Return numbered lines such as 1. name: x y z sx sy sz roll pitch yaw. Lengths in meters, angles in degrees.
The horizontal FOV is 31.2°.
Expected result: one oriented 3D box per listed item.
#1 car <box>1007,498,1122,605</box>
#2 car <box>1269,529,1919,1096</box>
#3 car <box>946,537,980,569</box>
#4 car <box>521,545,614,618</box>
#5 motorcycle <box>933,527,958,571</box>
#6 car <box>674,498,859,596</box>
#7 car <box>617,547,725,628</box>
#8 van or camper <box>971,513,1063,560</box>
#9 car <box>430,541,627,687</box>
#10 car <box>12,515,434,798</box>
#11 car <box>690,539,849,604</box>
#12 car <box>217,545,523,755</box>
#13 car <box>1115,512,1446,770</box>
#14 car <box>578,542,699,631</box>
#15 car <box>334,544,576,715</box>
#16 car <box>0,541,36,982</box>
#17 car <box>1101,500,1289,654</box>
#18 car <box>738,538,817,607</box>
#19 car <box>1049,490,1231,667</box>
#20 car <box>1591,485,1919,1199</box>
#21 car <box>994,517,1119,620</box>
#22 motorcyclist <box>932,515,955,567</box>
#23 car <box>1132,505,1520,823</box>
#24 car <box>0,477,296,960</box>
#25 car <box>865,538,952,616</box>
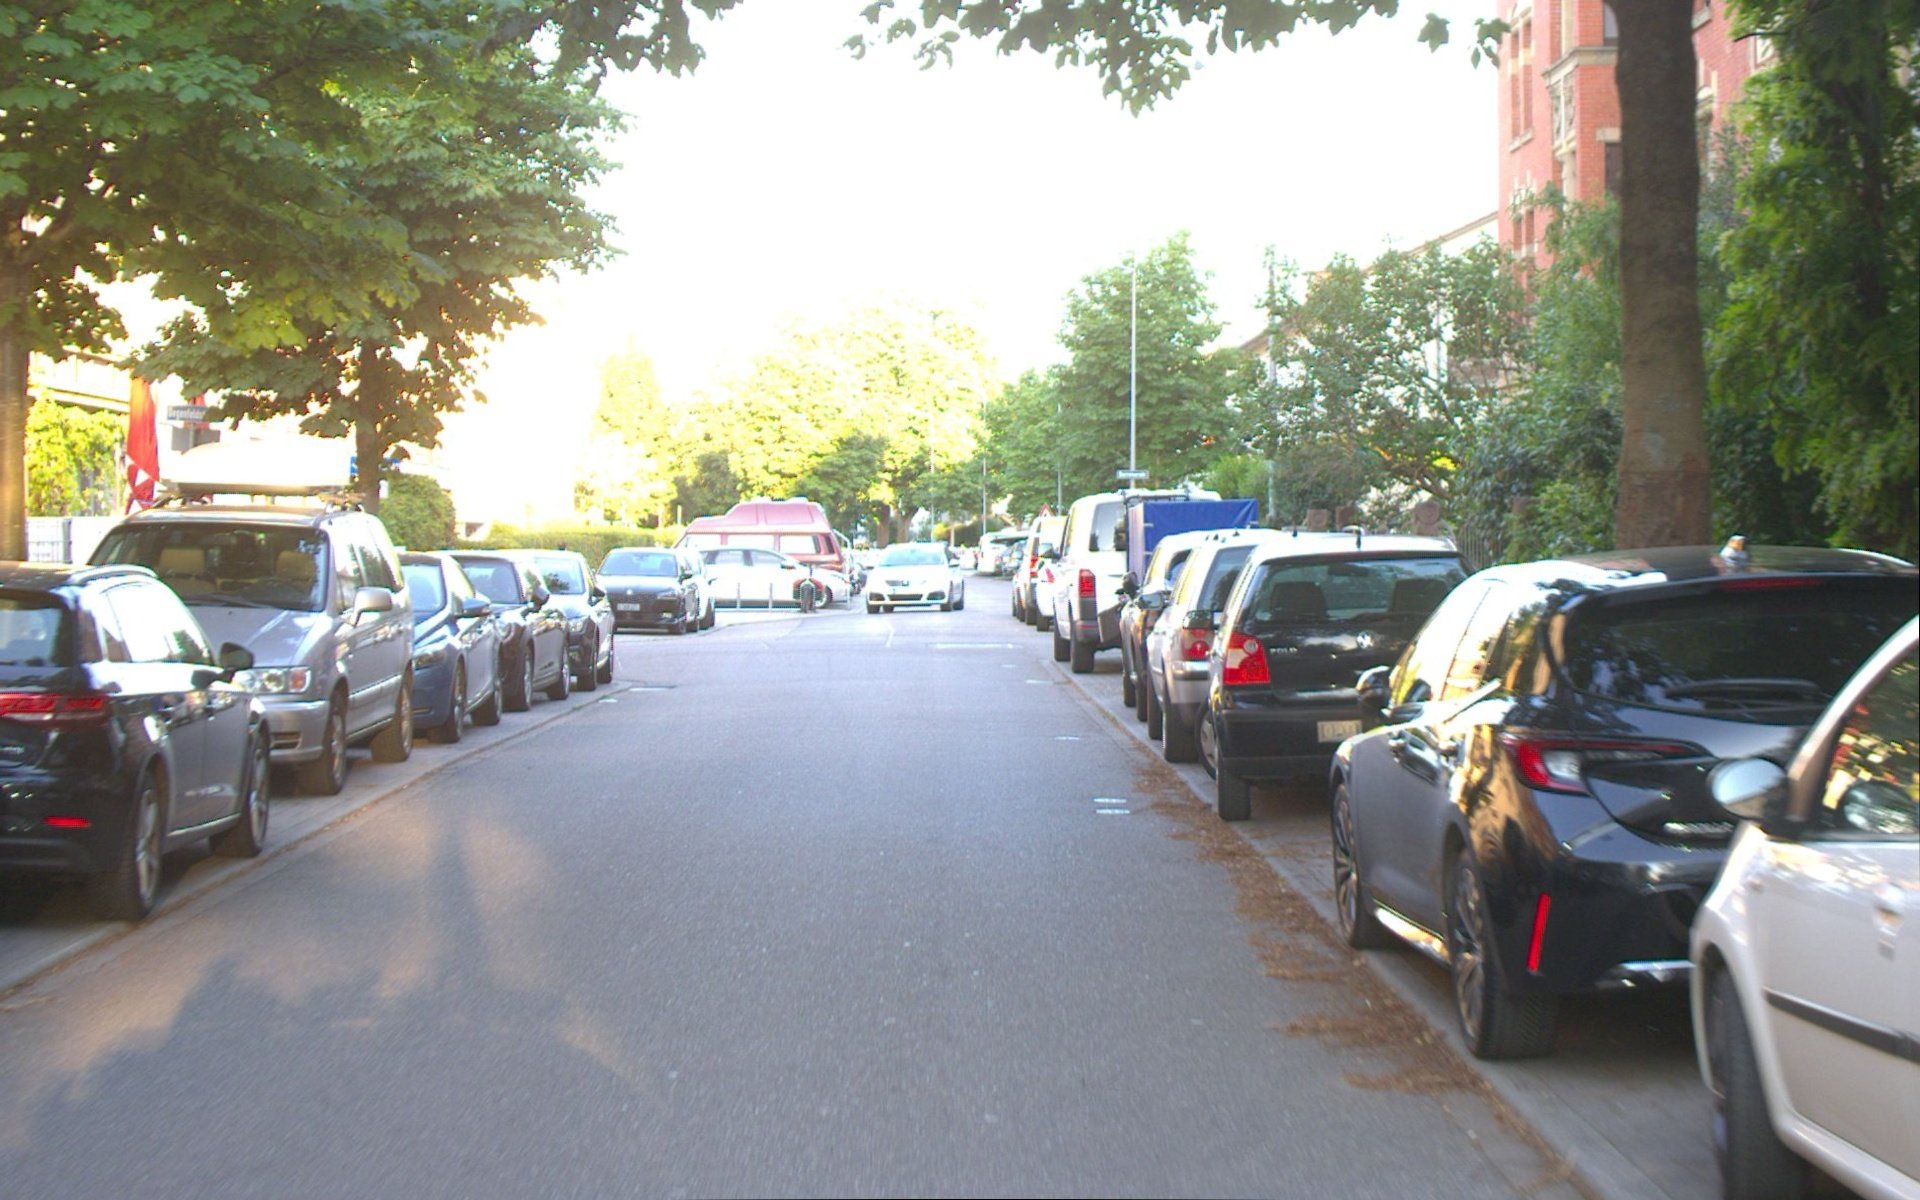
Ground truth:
1. car: 1.796 -0.856 60.087 1.686 1.805 3.940 0 1 -3
2. car: 2.095 0.525 11.182 1.687 1.436 4.210 -2 1 -1
3. car: 0.140 -2.454 178.830 1.715 1.590 3.483 0 1 -1
4. car: -8.114 -0.411 71.245 1.715 1.436 3.631 -1 1 -4
5. motorcycle: -0.465 -1.574 106.227 0.742 1.246 3.378 -1 2 0
6. car: -4.579 -1.269 81.830 4.349 2.310 1.746 0 1 -2
7. car: -5.416 -0.260 64.779 1.716 1.436 3.631 0 2 0
8. van or camper: 3.401 -3.776 204.221 5.262 2.782 1.552 0 1 -11
9. car: -4.562 0.111 36.811 1.599 1.436 3.838 0 2 0
10. car: -4.498 0.268 21.625 1.715 1.590 4.519 0 1 -1
11. car: -4.393 -0.661 79.250 3.618 1.456 1.607 0 1 -4
12. car: -4.492 0.328 26.680 1.715 1.460 3.987 0 2 -1
13. car: 2.092 0.226 23.444 1.686 1.600 3.940 0 1 -3
14. car: -5.496 -0.237 59.064 1.716 1.480 3.630 0 0 0
15. car: -4.578 0.226 31.618 1.715 1.436 3.631 0 2 -1
16. car: -4.260 0.617 10.797 1.715 1.561 3.788 0 2 -1
17. car: 2.400 -0.253 35.762 1.538 1.516 3.432 0 1 -3
18. car: -4.072 -0.629 76.323 1.715 1.436 3.631 0 2 -4
19. car: 2.016 -0.265 39.483 1.680 1.934 3.881 0 1 -3
20. car: 2.518 0.583 6.756 1.686 1.600 3.749 0 1 -3
21. car: 1.514 -0.516 55.323 1.686 1.600 3.940 0 1 -3
22. motorcyclist: -0.525 -1.847 107.611 0.702 1.625 0.822 -1 1 0
23. car: 1.952 0.294 19.363 1.686 1.600 3.940 0 1 -1
24. car: -4.110 0.384 14.788 1.715 1.784 4.216 0 2 -1
25. car: -1.095 -0.517 73.518 1.813 1.590 3.483 0 1 -1
